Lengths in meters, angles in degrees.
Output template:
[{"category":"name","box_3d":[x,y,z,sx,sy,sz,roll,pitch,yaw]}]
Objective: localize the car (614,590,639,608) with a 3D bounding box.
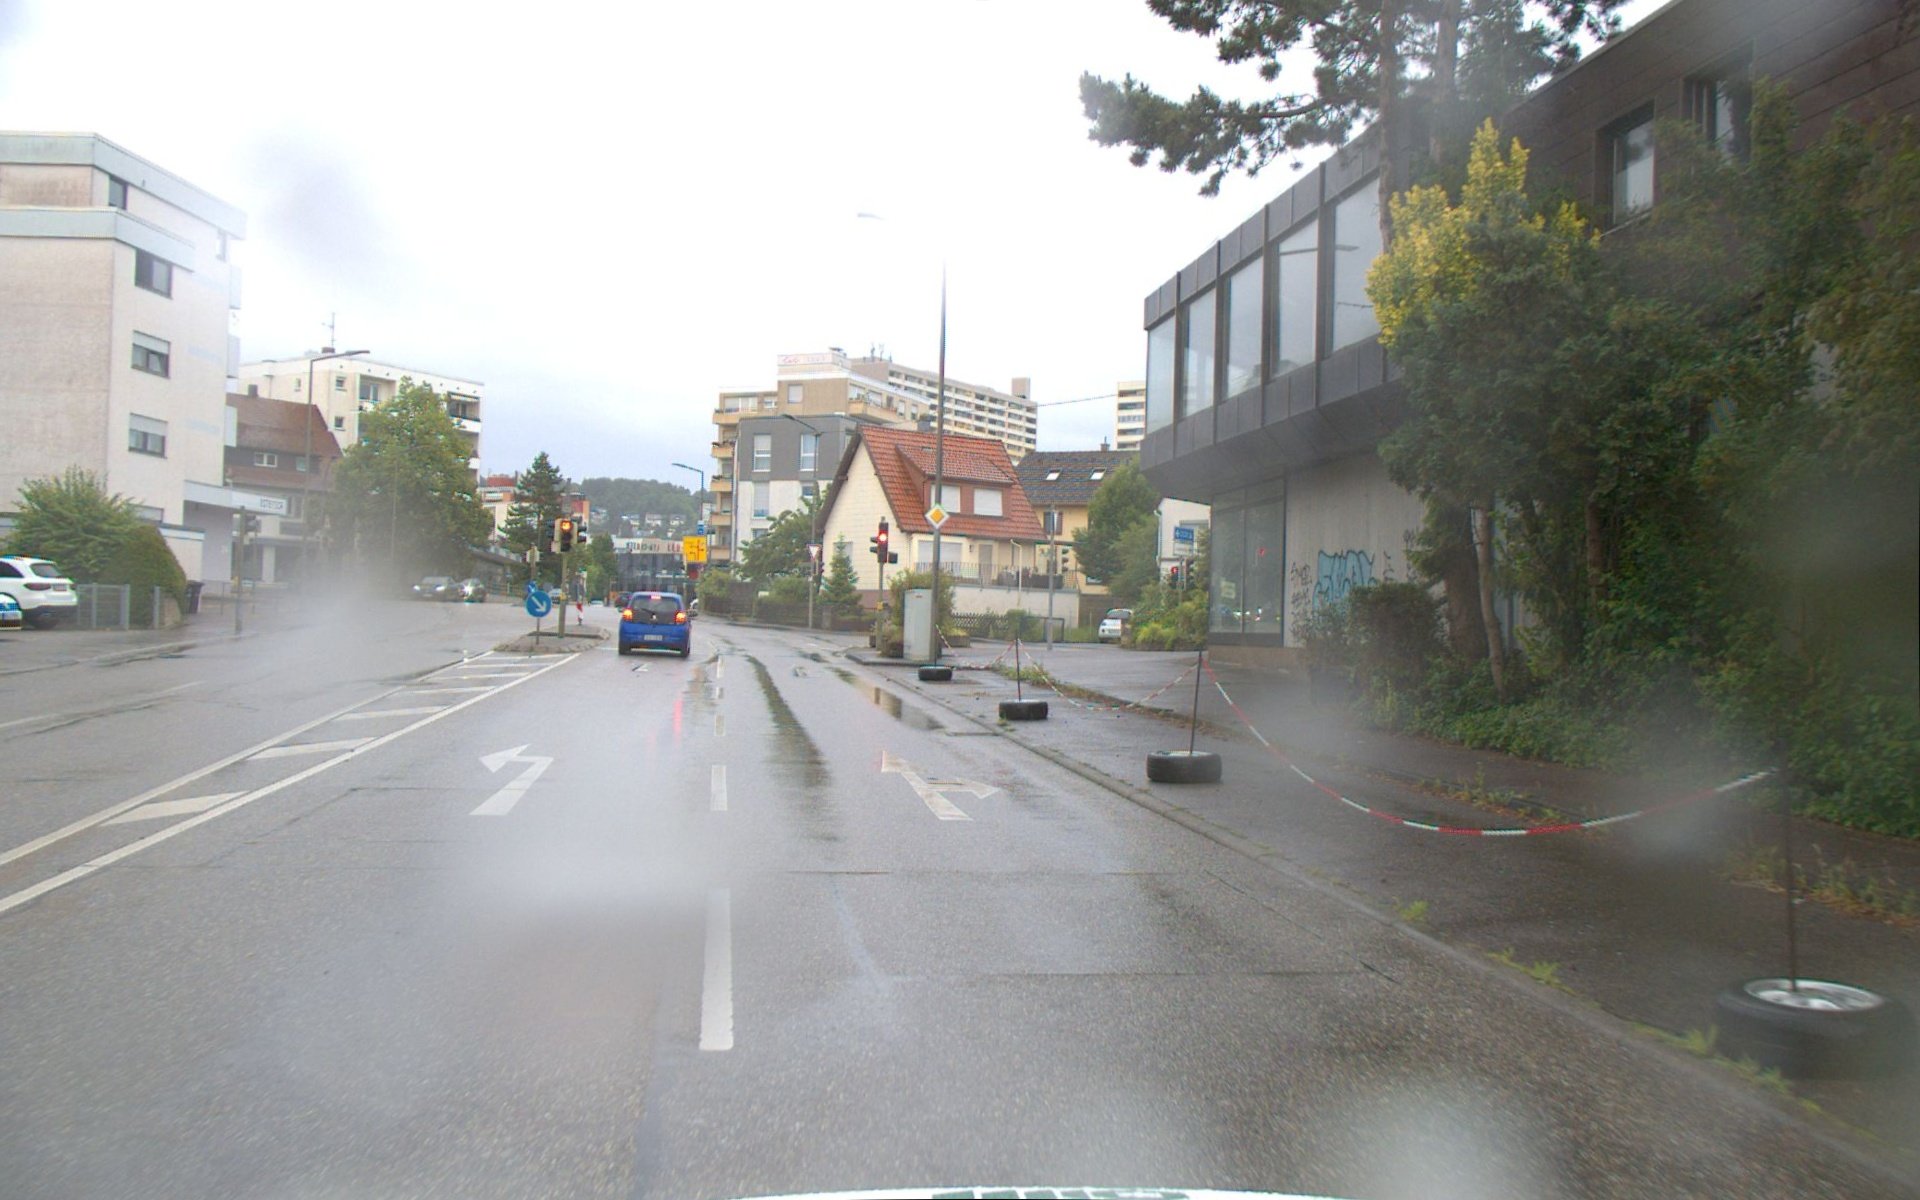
[{"category":"car","box_3d":[-29.293,-0.101,145.301,1.779,1.512,4.182,1,0,-8]}]

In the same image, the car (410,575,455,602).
[{"category":"car","box_3d":[-29.957,-0.641,93.979,1.745,1.445,3.823,2,0,-8]}]

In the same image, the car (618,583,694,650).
[{"category":"car","box_3d":[-7.108,0.370,38.904,1.549,1.435,3.264,3,0,-8]}]

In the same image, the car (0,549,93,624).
[{"category":"car","box_3d":[-22.805,-0.358,38.344,4.358,1.665,1.939,2,0,1]}]

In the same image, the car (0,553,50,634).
[{"category":"car","box_3d":[-19.791,-0.187,31.188,4.135,1.499,1.903,2,0,-3]}]

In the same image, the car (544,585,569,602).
[{"category":"car","box_3d":[-35.872,-0.568,147.224,1.745,1.445,3.823,2,0,-8]}]

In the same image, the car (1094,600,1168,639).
[{"category":"car","box_3d":[7.328,0.836,70.712,1.707,1.541,3.994,2,0,28]}]

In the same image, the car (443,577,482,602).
[{"category":"car","box_3d":[-30.367,-0.664,101.079,1.683,1.411,4.013,2,0,-8]}]
